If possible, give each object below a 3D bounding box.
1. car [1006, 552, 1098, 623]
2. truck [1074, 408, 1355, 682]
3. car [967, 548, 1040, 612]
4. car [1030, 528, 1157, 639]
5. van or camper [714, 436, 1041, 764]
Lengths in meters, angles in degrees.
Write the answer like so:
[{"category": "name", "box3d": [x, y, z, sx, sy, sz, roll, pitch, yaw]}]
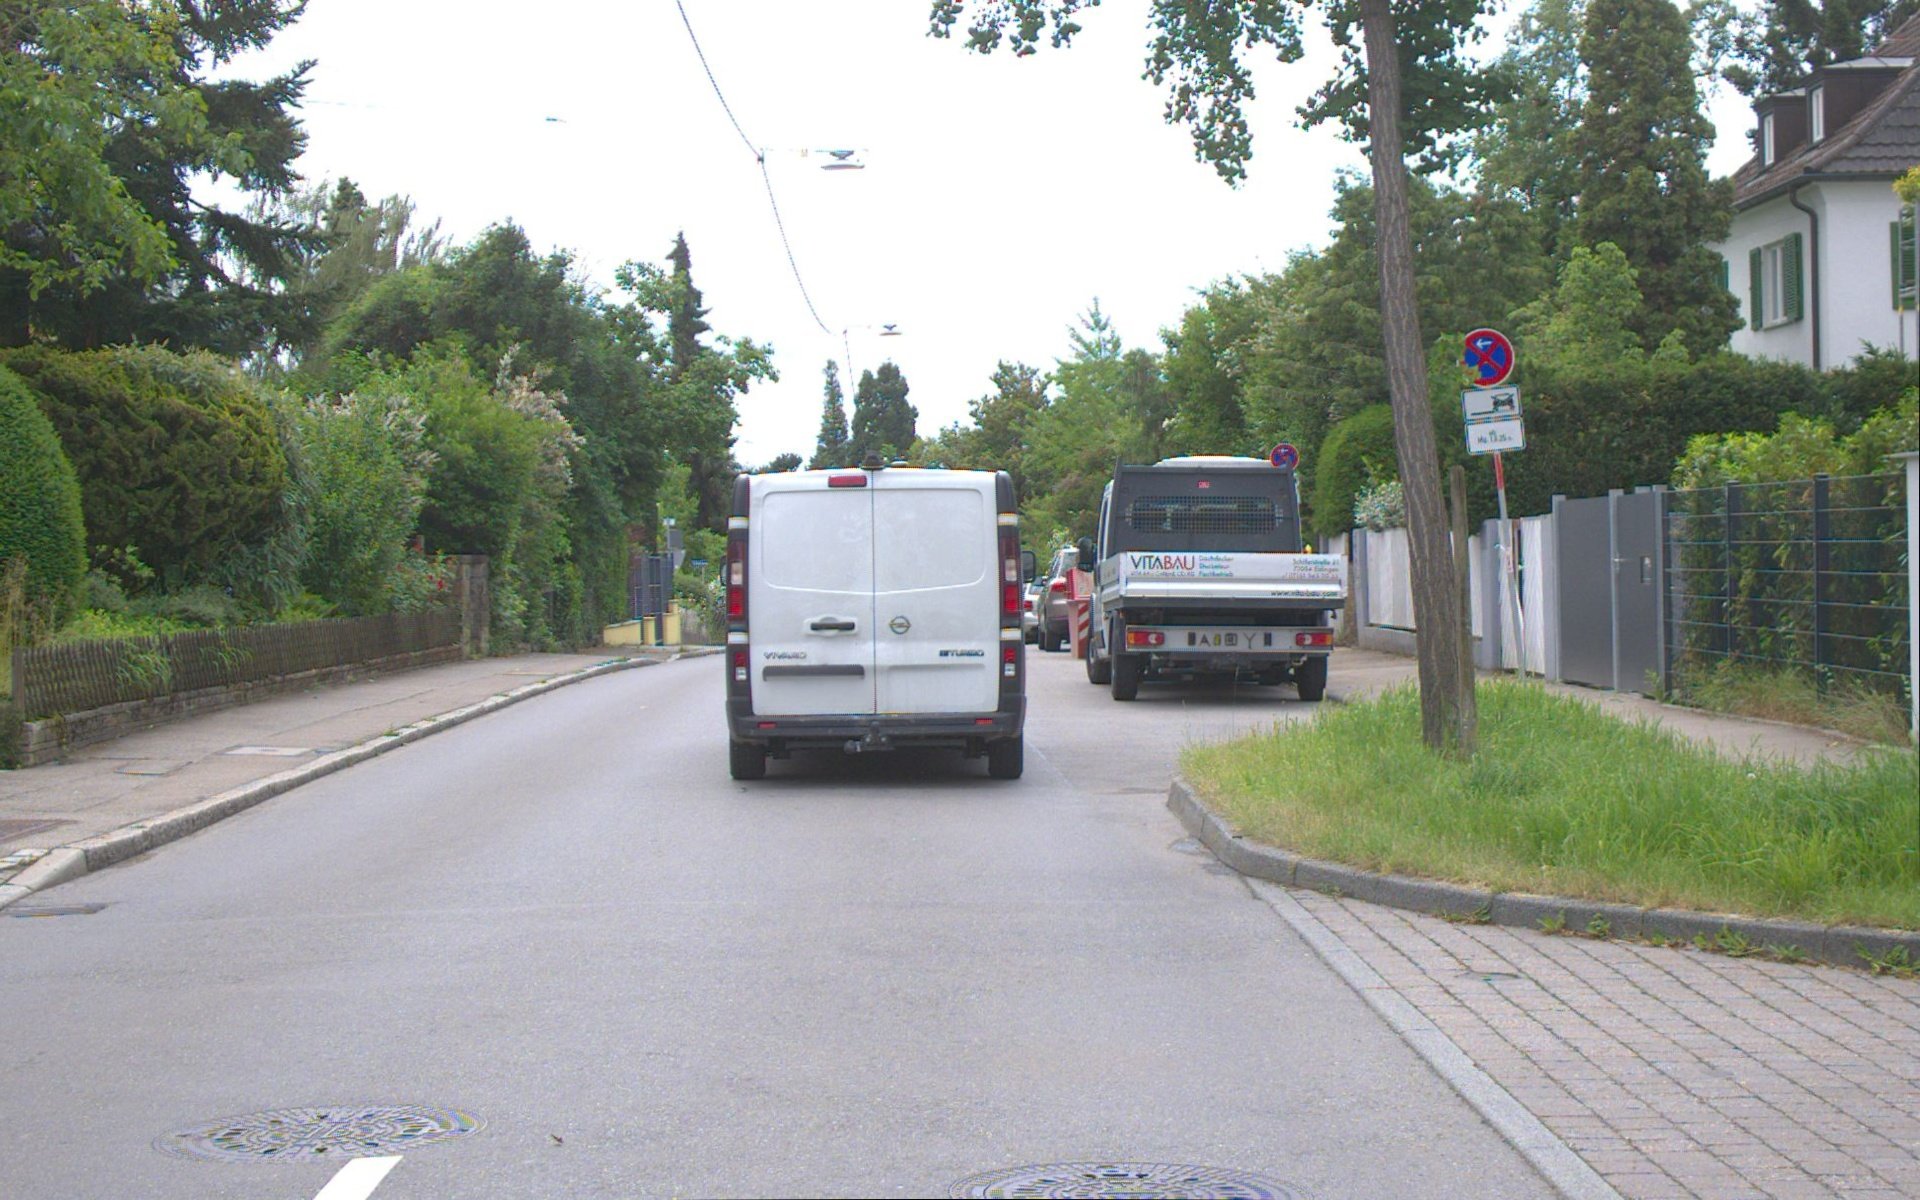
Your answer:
[{"category": "car", "box3d": [1.948, -0.266, 74.173, 1.744, 1.442, 4.259, -1, 0, -1]}, {"category": "truck", "box3d": [2.417, -0.541, 34.725, 2.187, 2.463, 7.431, 0, 1, -1]}, {"category": "car", "box3d": [1.124, -0.525, 90.979, 1.744, 1.624, 4.259, -1, 0, -1]}, {"category": "car", "box3d": [2.102, -0.257, 55.175, 1.744, 1.669, 4.185, -1, 0, -1]}, {"category": "van or camper", "box3d": [-0.539, 0.019, 22.846, 1.939, 1.947, 4.765, 0, 0, -1]}]
